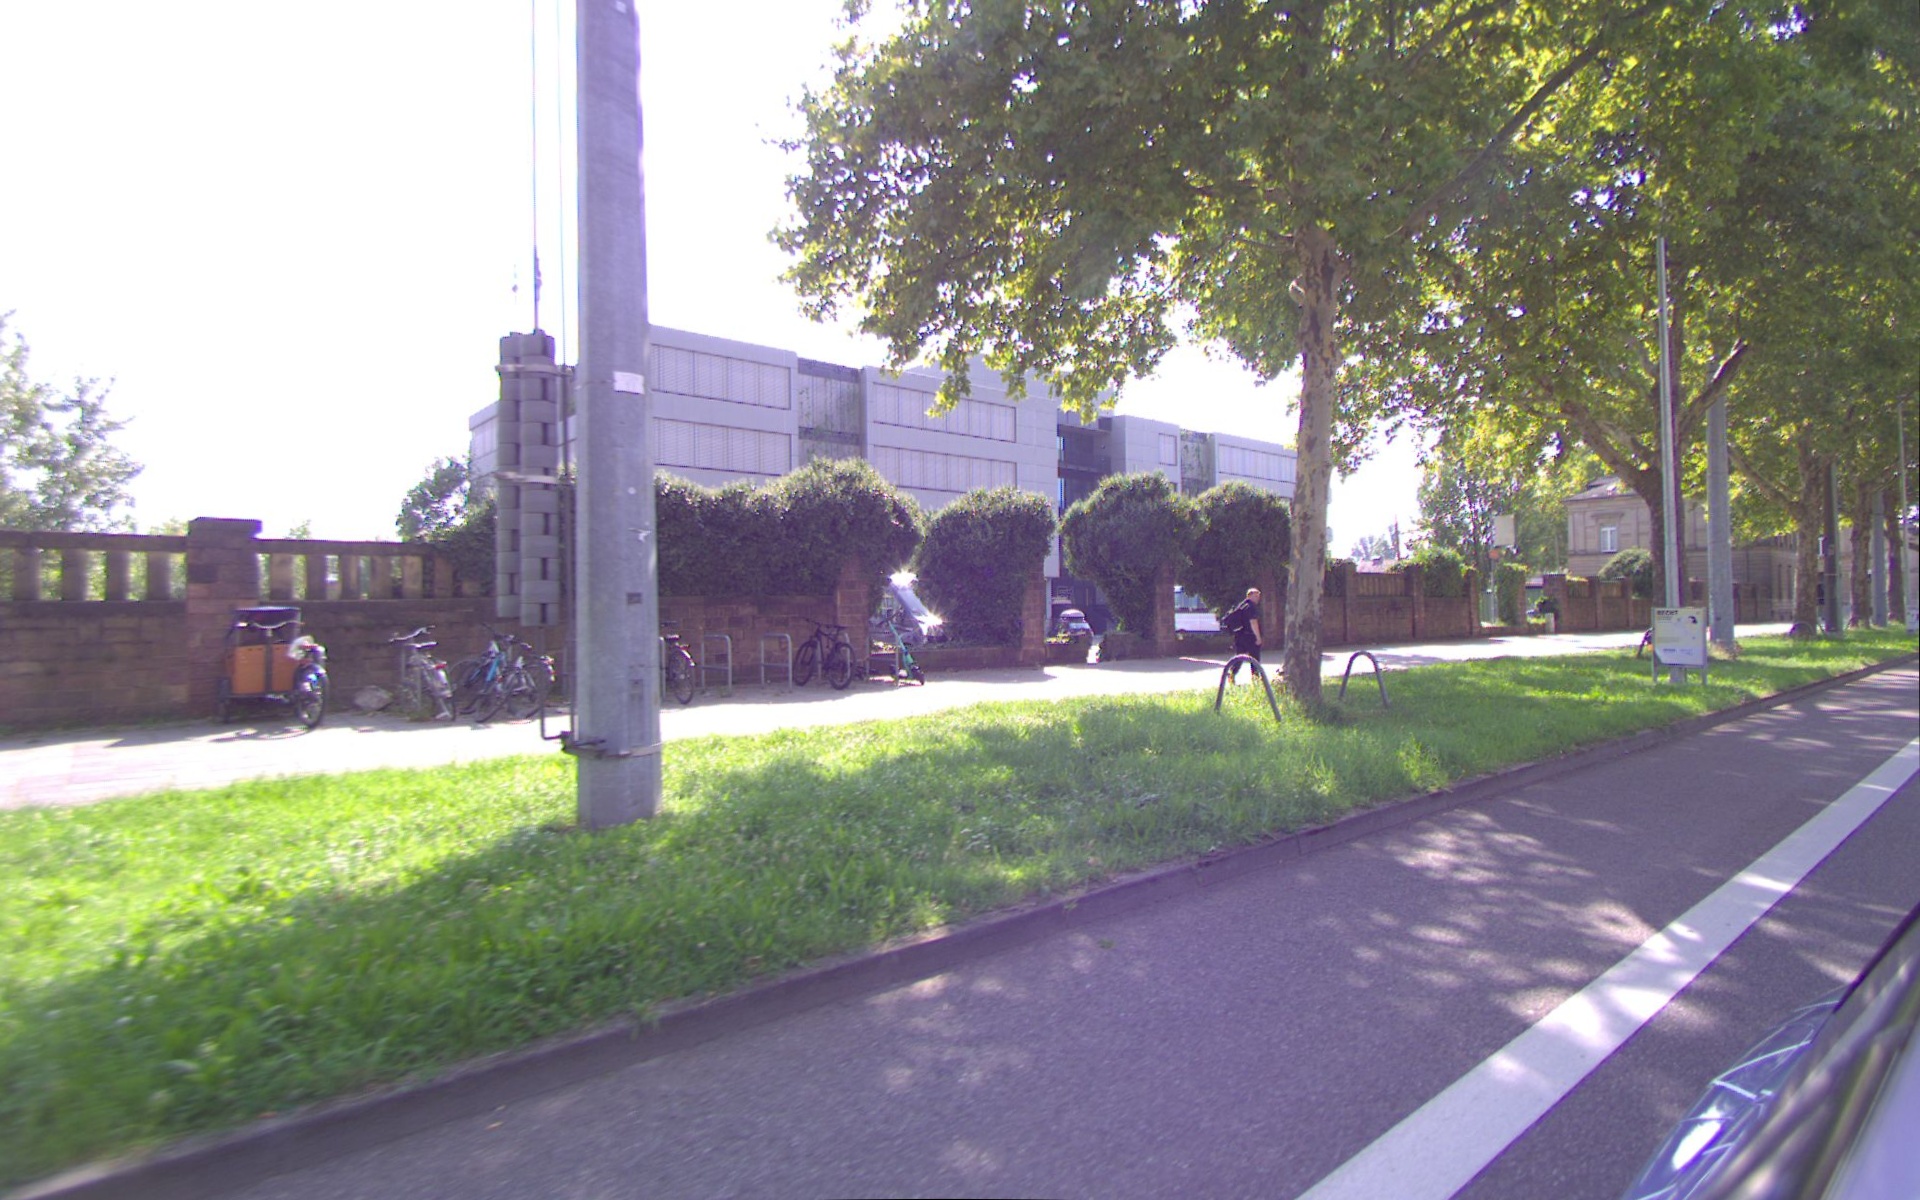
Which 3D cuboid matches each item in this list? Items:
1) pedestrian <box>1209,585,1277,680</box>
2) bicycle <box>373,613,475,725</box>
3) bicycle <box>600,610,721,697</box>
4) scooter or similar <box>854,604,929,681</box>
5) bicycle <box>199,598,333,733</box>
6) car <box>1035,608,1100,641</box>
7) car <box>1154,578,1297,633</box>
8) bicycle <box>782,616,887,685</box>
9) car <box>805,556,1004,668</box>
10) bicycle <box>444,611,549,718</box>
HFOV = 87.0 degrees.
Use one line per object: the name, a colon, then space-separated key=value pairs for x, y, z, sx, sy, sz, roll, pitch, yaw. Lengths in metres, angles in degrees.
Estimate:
pedestrian: x=4.734 y=0.527 z=16.928 sx=0.773 sy=1.534 sz=0.785 roll=0 pitch=-1 yaw=-41
bicycle: x=-6.313 y=0.748 z=11.858 sx=0.729 sy=1.090 sz=2.180 roll=0 pitch=2 yaw=-37
bicycle: x=-4.145 y=0.700 z=13.900 sx=0.730 sy=1.090 sz=2.176 roll=0 pitch=-1 yaw=-42
scooter or similar: x=-1.169 y=0.679 z=16.935 sx=0.528 sy=1.206 sz=1.510 roll=0 pitch=1 yaw=-36
bicycle: x=-7.865 y=0.663 z=11.418 sx=0.981 sy=1.293 sz=2.248 roll=-2 pitch=2 yaw=-41
car: x=5.700 y=1.277 z=54.124 sx=1.785 sy=1.629 sz=3.981 roll=0 pitch=1 yaw=-23
car: x=9.126 y=0.183 z=35.035 sx=1.877 sy=1.756 sz=4.526 roll=0 pitch=0 yaw=-42
bicycle: x=-2.024 y=0.780 z=16.135 sx=0.722 sy=1.019 sz=1.869 roll=0 pitch=-1 yaw=-42
car: x=-1.522 y=0.298 z=25.134 sx=2.210 sy=2.465 sz=5.387 roll=0 pitch=-1 yaw=-39
bicycle: x=-5.666 y=0.728 z=12.303 sx=0.729 sy=1.090 sz=2.180 roll=0 pitch=2 yaw=-37
